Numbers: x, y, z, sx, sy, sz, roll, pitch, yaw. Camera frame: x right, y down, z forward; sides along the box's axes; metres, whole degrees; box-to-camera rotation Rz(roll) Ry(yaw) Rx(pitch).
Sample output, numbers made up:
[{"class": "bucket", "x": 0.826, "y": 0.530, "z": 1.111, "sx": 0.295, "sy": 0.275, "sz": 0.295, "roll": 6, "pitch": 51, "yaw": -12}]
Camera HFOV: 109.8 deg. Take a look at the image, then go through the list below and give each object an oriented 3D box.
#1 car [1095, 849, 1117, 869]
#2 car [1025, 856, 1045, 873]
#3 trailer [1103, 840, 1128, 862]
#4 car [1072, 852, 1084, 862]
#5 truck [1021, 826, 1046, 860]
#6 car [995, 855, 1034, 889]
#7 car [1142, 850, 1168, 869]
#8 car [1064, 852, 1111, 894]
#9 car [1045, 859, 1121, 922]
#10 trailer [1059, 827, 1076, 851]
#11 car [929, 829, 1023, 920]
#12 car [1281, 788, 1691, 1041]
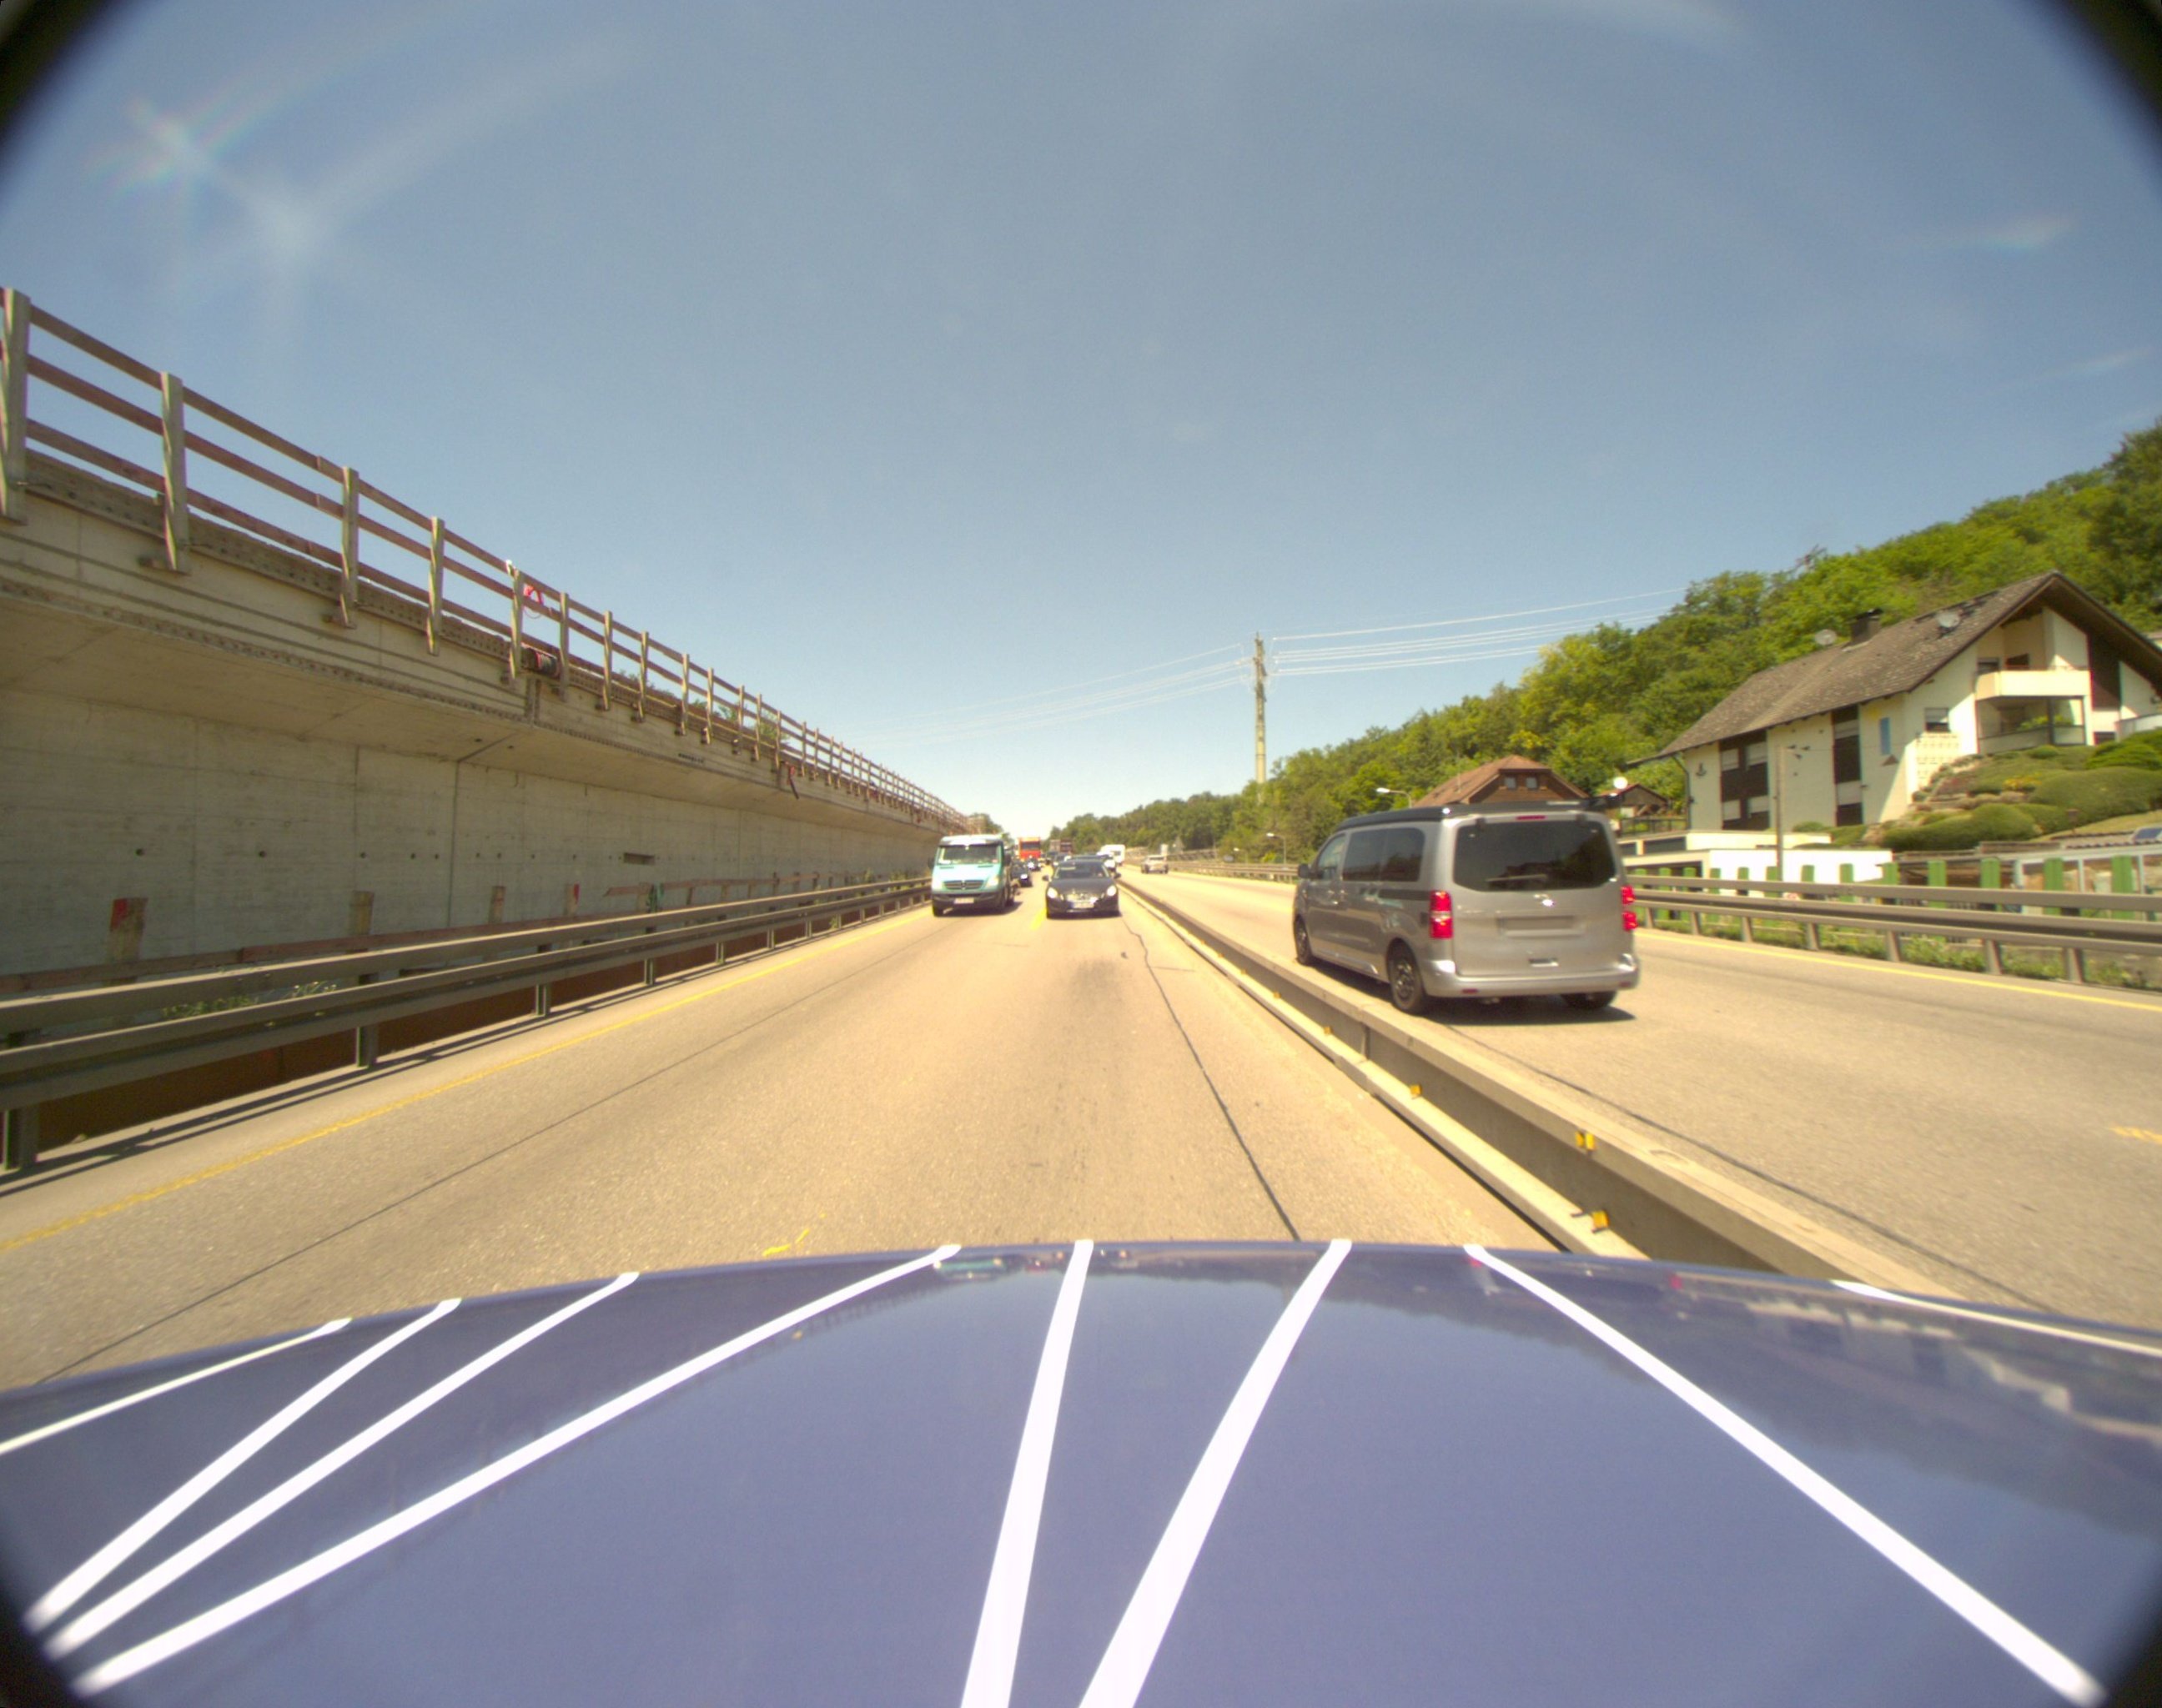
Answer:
[{"class": "car", "x": 2.225, "y": 0.432, "z": 68.949, "sx": 1.814, "sy": 1.730, "sz": 4.256, "roll": -1, "pitch": 0, "yaw": -1}, {"class": "car", "x": -4.694, "y": 1.047, "z": 77.822, "sx": 1.674, "sy": 1.499, "sz": 3.648, "roll": -3, "pitch": 1, "yaw": 1}, {"class": "trailer", "x": 4.259, "y": -0.435, "z": 94.971, "sx": 2.606, "sy": 2.573, "sz": 6.240, "roll": -2, "pitch": 1, "yaw": -1}, {"class": "car", "x": -0.580, "y": 0.470, "z": 126.960, "sx": 1.802, "sy": 1.577, "sz": 4.321, "roll": -1, "pitch": 0, "yaw": -2}, {"class": "truck", "x": -5.995, "y": -1.418, "z": 97.587, "sx": 2.651, "sy": 3.978, "sz": 11.193, "roll": -3, "pitch": 1, "yaw": -1}, {"class": "car", "x": -3.565, "y": 0.914, "z": 41.461, "sx": 1.860, "sy": 1.650, "sz": 3.999, "roll": -3, "pitch": 1, "yaw": -2}, {"class": "car", "x": 6.099, "y": 0.436, "z": 62.754, "sx": 1.706, "sy": 1.471, "sz": 3.973, "roll": -1, "pitch": 0, "yaw": -1}, {"class": "car", "x": 0.249, "y": 0.779, "z": 33.404, "sx": 1.860, "sy": 1.650, "sz": 3.999, "roll": -3, "pitch": 1, "yaw": -1}, {"class": "car", "x": -0.019, "y": 0.884, "z": 20.193, "sx": 1.793, "sy": 1.440, "sz": 4.296, "roll": 0, "pitch": 0, "yaw": -2}, {"class": "trailer", "x": -2.886, "y": -3.084, "z": 160.050, "sx": 3.130, "sy": 4.687, "sz": 12.074, "roll": -3, "pitch": 1, "yaw": -2}, {"class": "car", "x": -3.075, "y": 0.531, "z": 23.836, "sx": 1.968, "sy": 2.367, "sz": 7.209, "roll": -1, "pitch": 0, "yaw": -1}, {"class": "car", "x": 3.859, "y": 0.454, "z": 8.515, "sx": 1.998, "sy": 2.002, "sz": 4.968, "roll": 0, "pitch": 1, "yaw": 1}]
